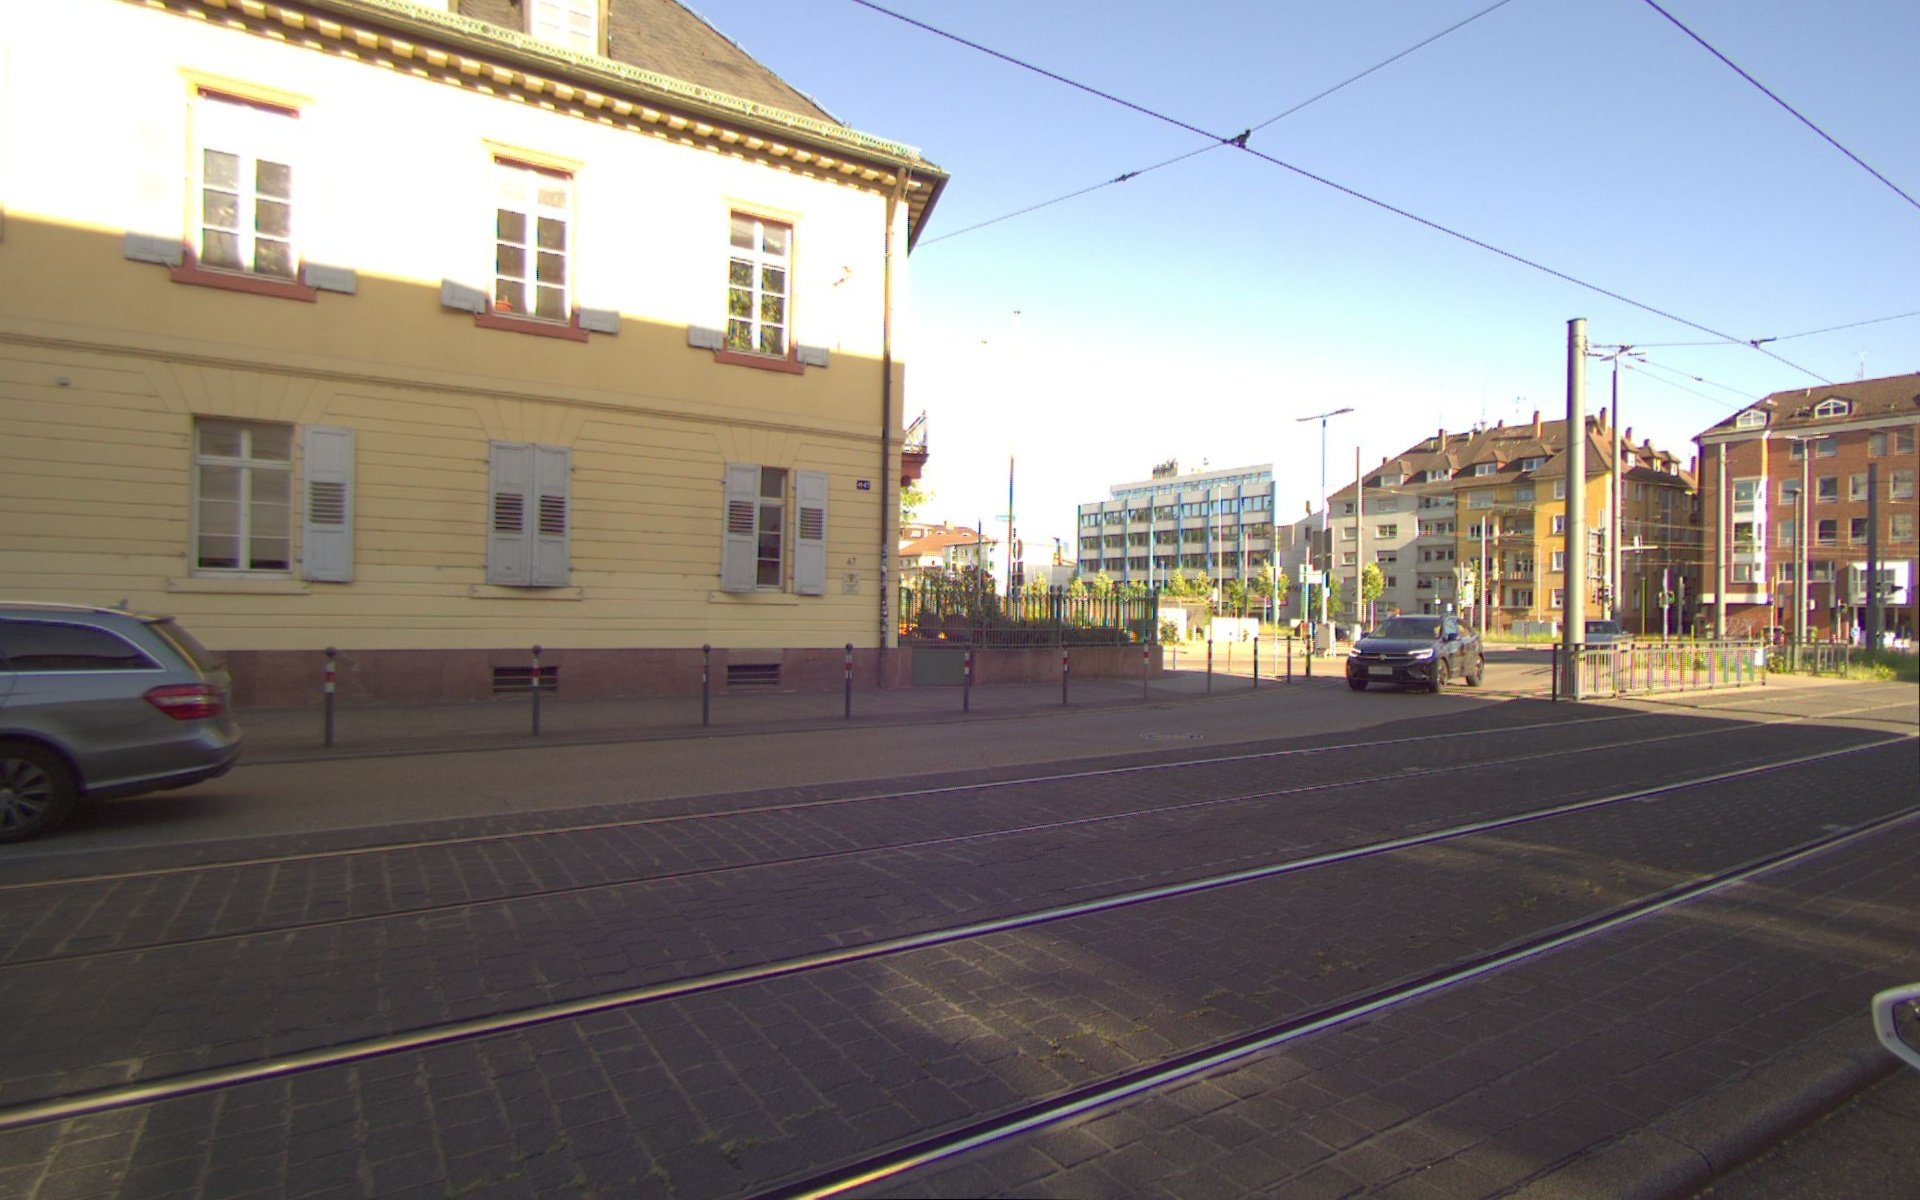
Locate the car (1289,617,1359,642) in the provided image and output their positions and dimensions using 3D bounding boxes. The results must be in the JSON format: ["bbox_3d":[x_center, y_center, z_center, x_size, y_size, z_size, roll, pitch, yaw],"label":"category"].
[{"bbox_3d":[25.087,2.007,69.239,1.922,1.510,4.112,1,1,-39],"label":"car"}]

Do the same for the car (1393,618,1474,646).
[{"bbox_3d":[29.645,1.994,62.968,1.922,1.510,4.112,1,0,-39],"label":"car"}]

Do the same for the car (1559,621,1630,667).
[{"bbox_3d":[23.437,1.560,37.018,1.760,1.589,4.274,0,-1,39],"label":"car"}]

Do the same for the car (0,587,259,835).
[{"bbox_3d":[-7.351,0.682,6.228,4.881,1.515,1.868,1,-2,-35],"label":"car"}]

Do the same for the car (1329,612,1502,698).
[{"bbox_3d":[9.302,1.044,20.346,4.251,1.532,1.747,2,0,-44],"label":"car"}]
